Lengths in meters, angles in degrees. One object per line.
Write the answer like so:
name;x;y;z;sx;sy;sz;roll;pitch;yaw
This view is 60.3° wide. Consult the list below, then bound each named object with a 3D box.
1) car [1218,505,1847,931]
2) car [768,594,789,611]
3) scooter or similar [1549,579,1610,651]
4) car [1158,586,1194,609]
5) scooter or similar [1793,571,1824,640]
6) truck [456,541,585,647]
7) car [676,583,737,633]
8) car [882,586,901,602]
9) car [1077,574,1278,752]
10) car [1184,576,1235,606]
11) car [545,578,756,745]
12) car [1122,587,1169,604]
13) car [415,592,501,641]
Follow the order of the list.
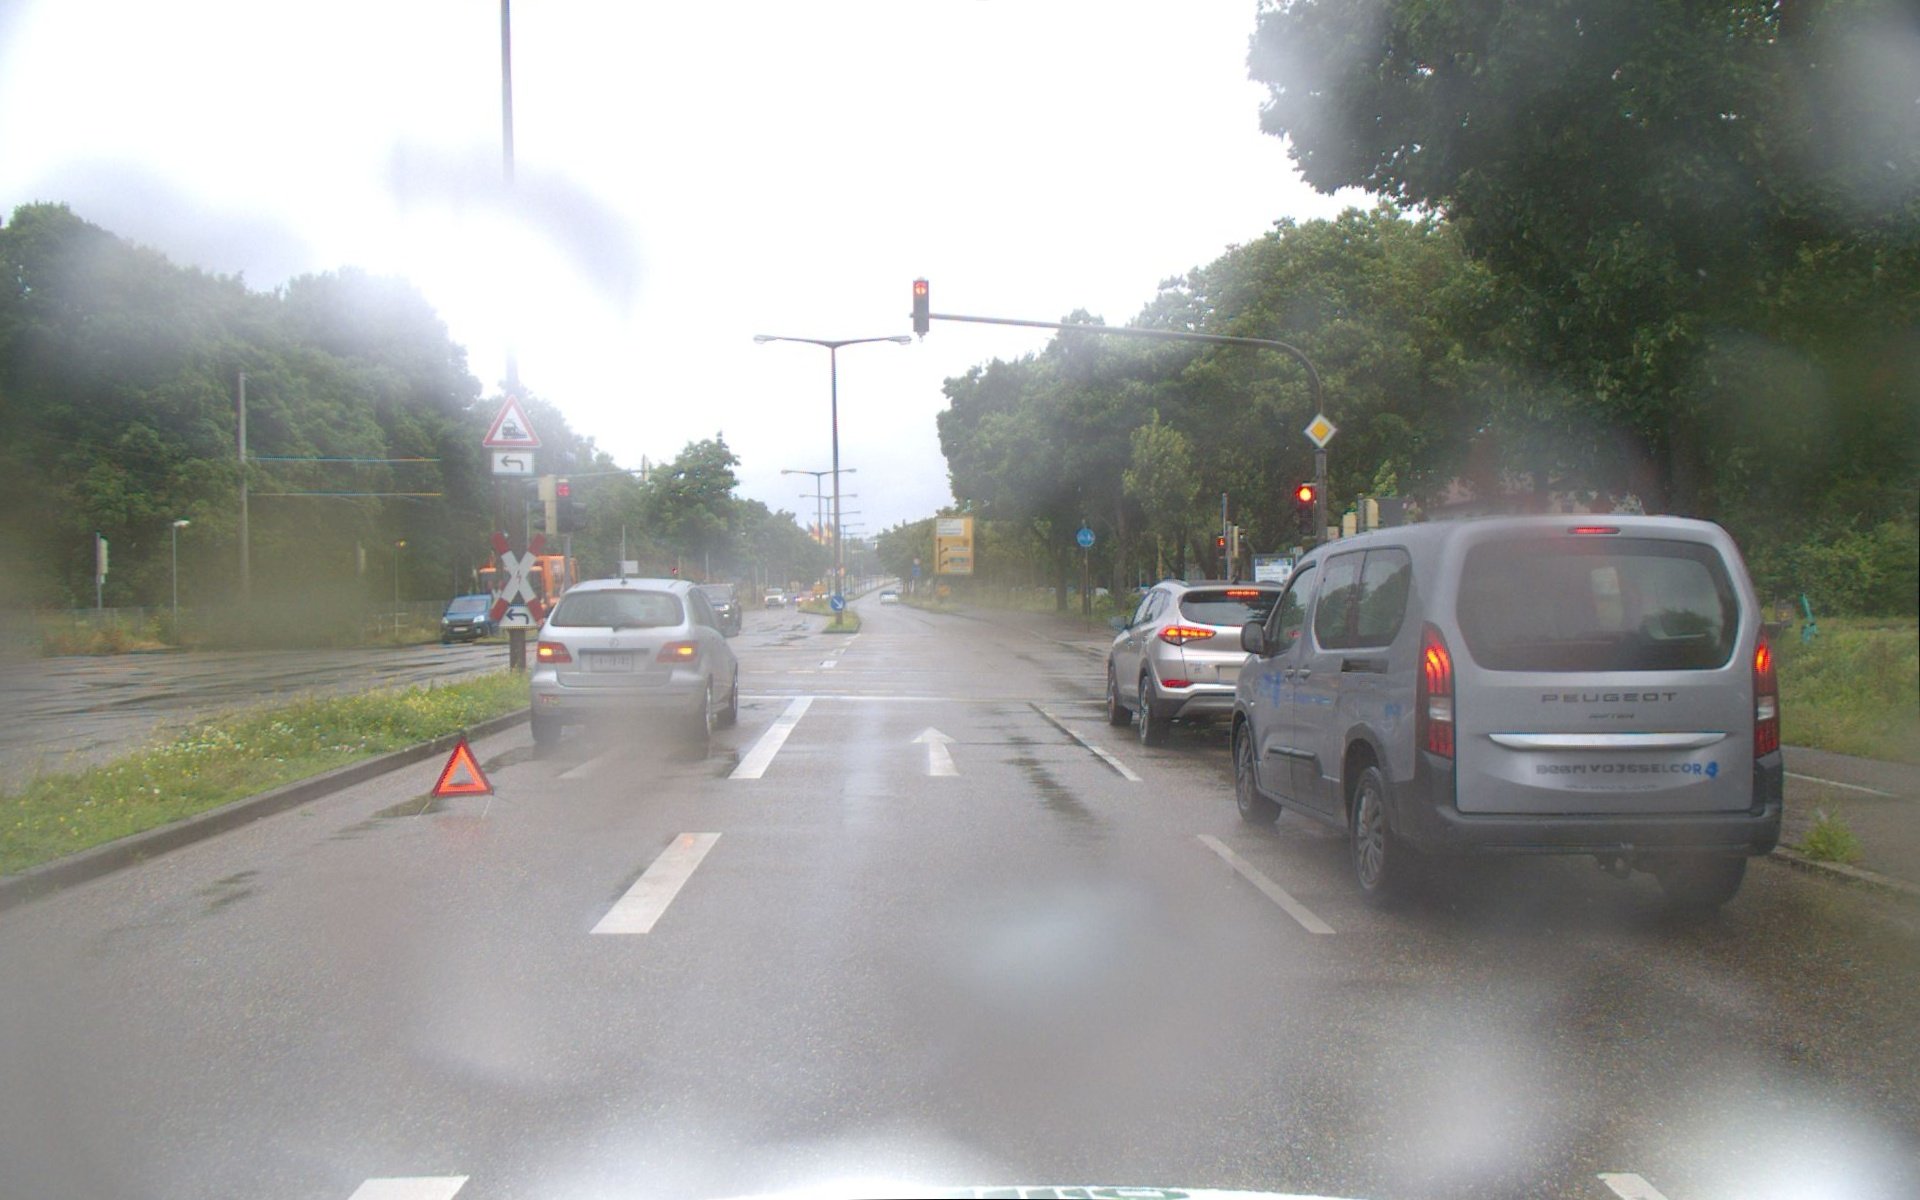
car;2.840;0.513;9.435;1.953;1.827;4.561;1;0;-1
car;-18.019;0.252;164.264;1.765;1.597;4.425;-2;0;-4
scooter or similar;10.969;0.260;29.288;0.937;1.251;0.322;-1;0;2
car;14.806;-0.145;113.544;1.605;1.512;4.069;1;0;-5
scooter or similar;14.799;0.093;28.859;0.279;1.197;0.560;-1;0;4
truck;-19.017;-0.239;72.375;3.317;4.240;10.400;1;0;-3
car;-9.809;0.287;64.278;1.770;1.804;5.086;-2;0;-3
car;-6.609;-0.580;159.679;1.869;1.541;3.998;-1;0;-2
car;2.189;0.599;17.596;1.844;1.638;4.197;1;0;4
car;14.989;-0.520;99.657;1.955;1.747;4.874;-1;0;-5
car;-3.182;0.574;17.713;1.702;1.571;4.010;-1;0;-3
car;19.213;-0.411;171.684;4.484;1.673;1.996;1;0;-9
car;-18.738;0.605;61.918;1.953;1.739;4.525;1;0;-2
